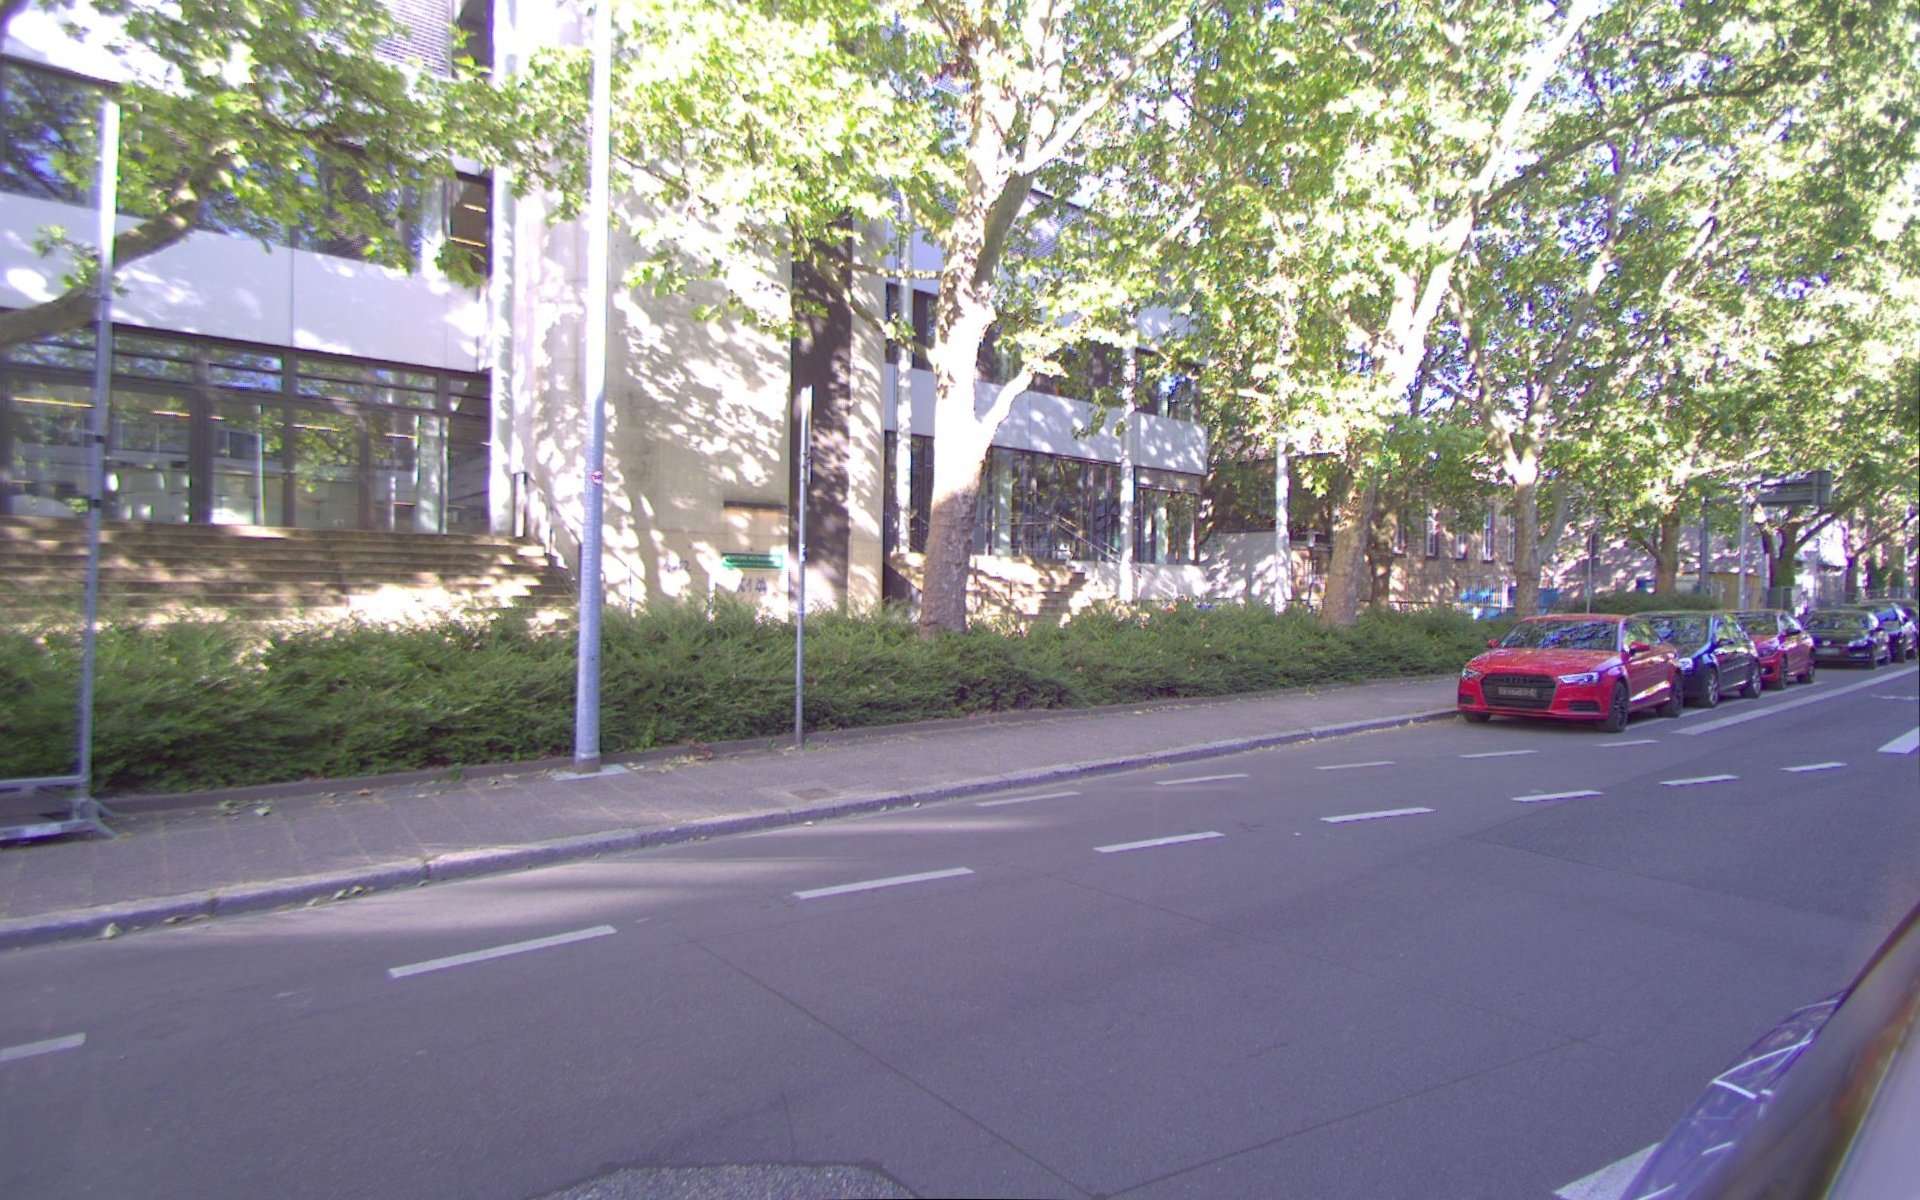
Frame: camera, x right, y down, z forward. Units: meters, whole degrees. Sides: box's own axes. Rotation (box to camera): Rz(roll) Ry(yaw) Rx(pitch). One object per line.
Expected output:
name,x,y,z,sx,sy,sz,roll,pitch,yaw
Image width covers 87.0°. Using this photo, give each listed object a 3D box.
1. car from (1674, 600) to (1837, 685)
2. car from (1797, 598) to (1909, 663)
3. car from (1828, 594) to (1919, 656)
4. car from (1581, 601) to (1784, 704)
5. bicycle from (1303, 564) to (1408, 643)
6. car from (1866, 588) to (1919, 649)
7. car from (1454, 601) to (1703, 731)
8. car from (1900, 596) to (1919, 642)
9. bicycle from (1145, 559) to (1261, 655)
car,15.792,0.770,20.021,4.242,1.498,1.696,0,-1,-40
car,22.697,0.737,25.681,3.952,1.523,1.694,0,-1,-43
car,26.545,0.687,29.103,4.541,1.649,1.778,0,-1,-42
car,11.846,0.775,16.519,3.992,1.485,1.696,0,-1,-39
bicycle,10.673,0.061,27.392,0.729,2.039,2.603,1,1,-40
car,30.834,0.586,33.003,1.823,1.865,4.826,-2,-1,41
car,8.382,0.759,13.545,4.360,1.468,1.694,0,-1,-43
car,35.990,0.670,37.241,4.256,1.649,1.694,0,-1,-43
bicycle,5.432,0.119,22.783,0.729,2.039,2.603,1,1,-40
